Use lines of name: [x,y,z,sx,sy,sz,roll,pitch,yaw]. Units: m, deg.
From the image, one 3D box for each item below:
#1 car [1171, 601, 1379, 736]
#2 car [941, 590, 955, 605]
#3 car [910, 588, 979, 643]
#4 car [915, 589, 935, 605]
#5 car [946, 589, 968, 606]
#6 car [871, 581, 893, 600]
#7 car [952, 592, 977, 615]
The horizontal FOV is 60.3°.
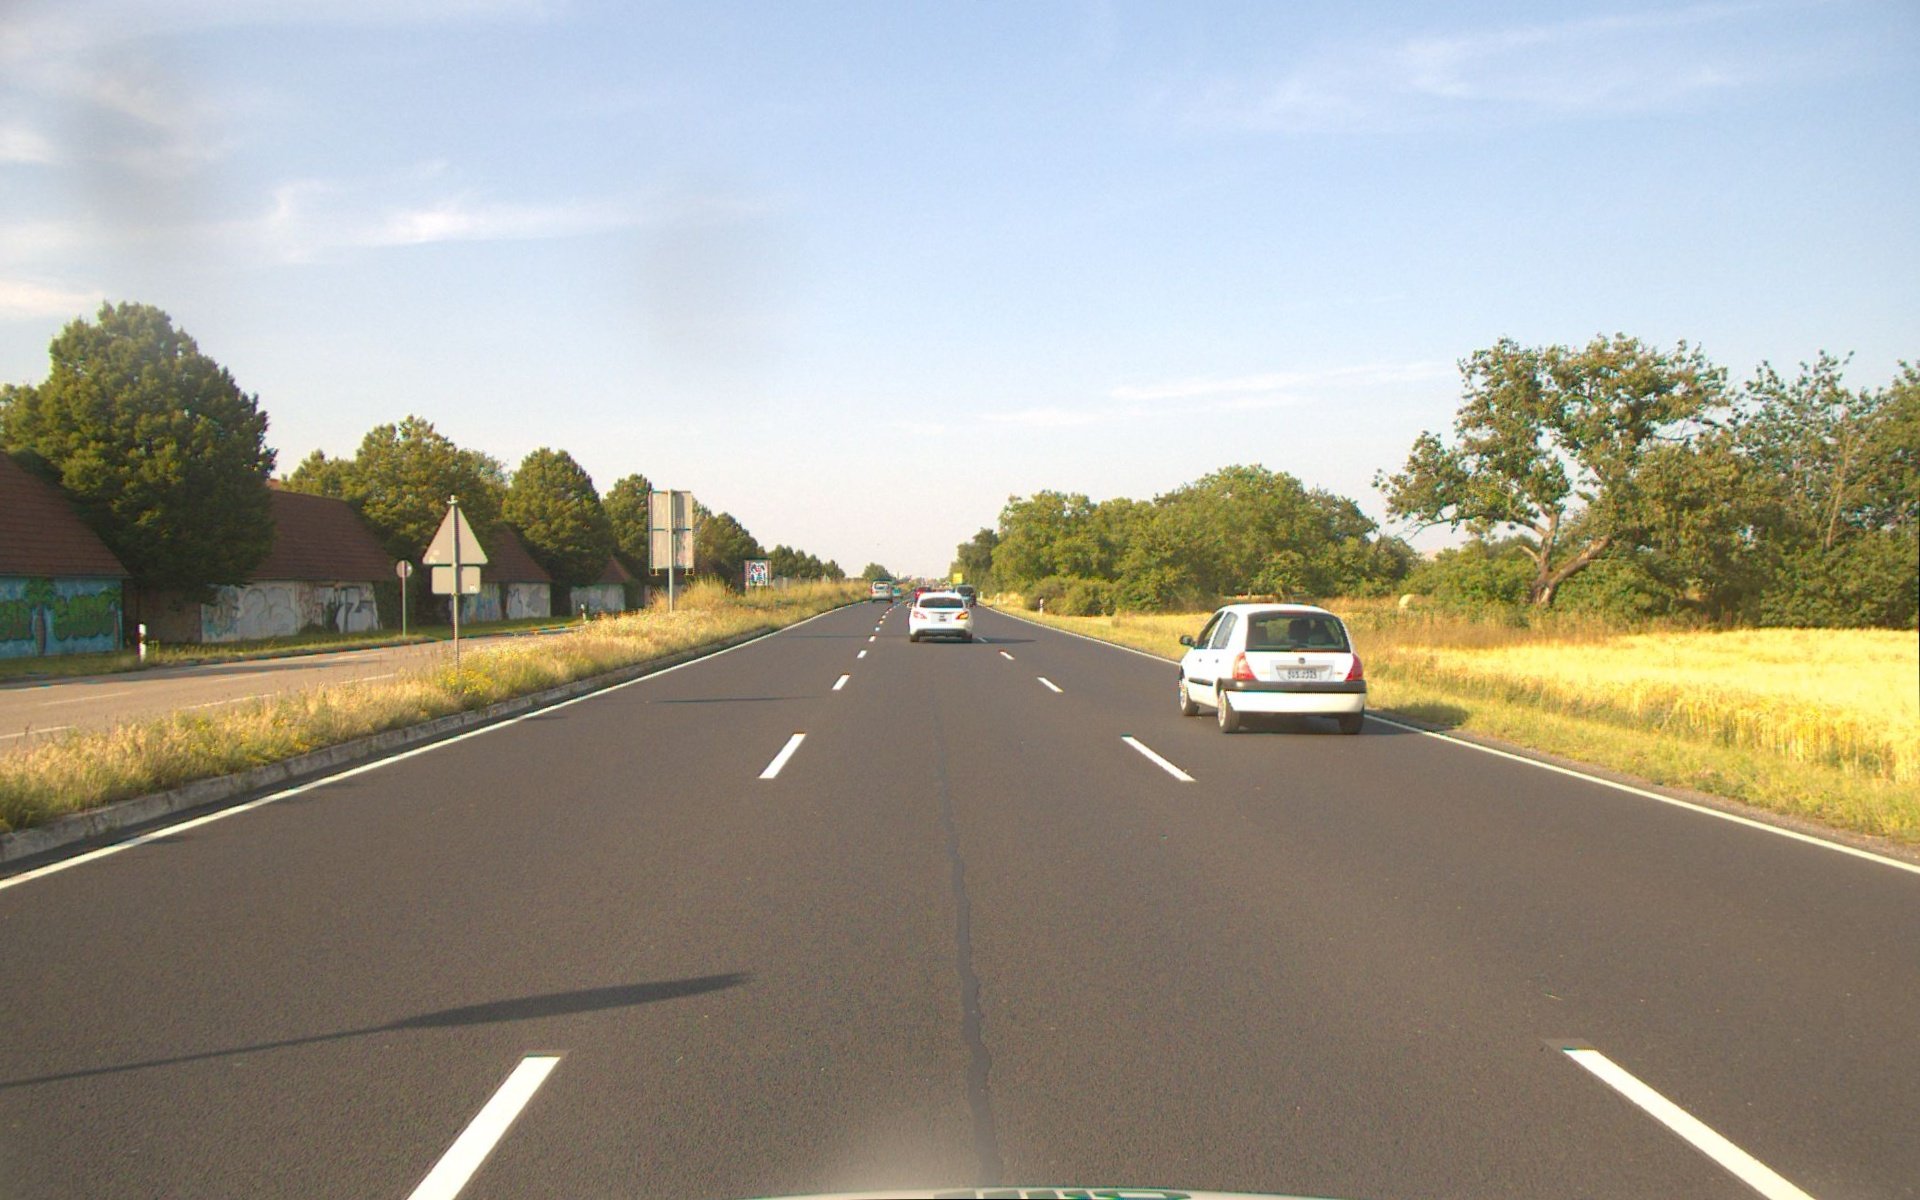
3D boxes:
car: [3.570,0.737,19.409,1.584,1.411,3.950,1,0,-2]
car: [-1.494,-0.317,211.550,1.766,1.937,3.559,1,0,0]
car: [-0.474,0.461,49.222,1.953,1.543,3.999,1,0,-1]
car: [-3.227,-0.251,151.453,1.775,1.461,3.857,1,0,-2]
car: [-0.316,-0.217,164.565,1.954,1.613,4.281,1,0,-4]
car: [-6.932,-0.811,147.997,1.722,1.646,4.000,1,0,1]
car: [0.338,0.274,128.466,1.791,1.758,3.999,1,0,-1]
